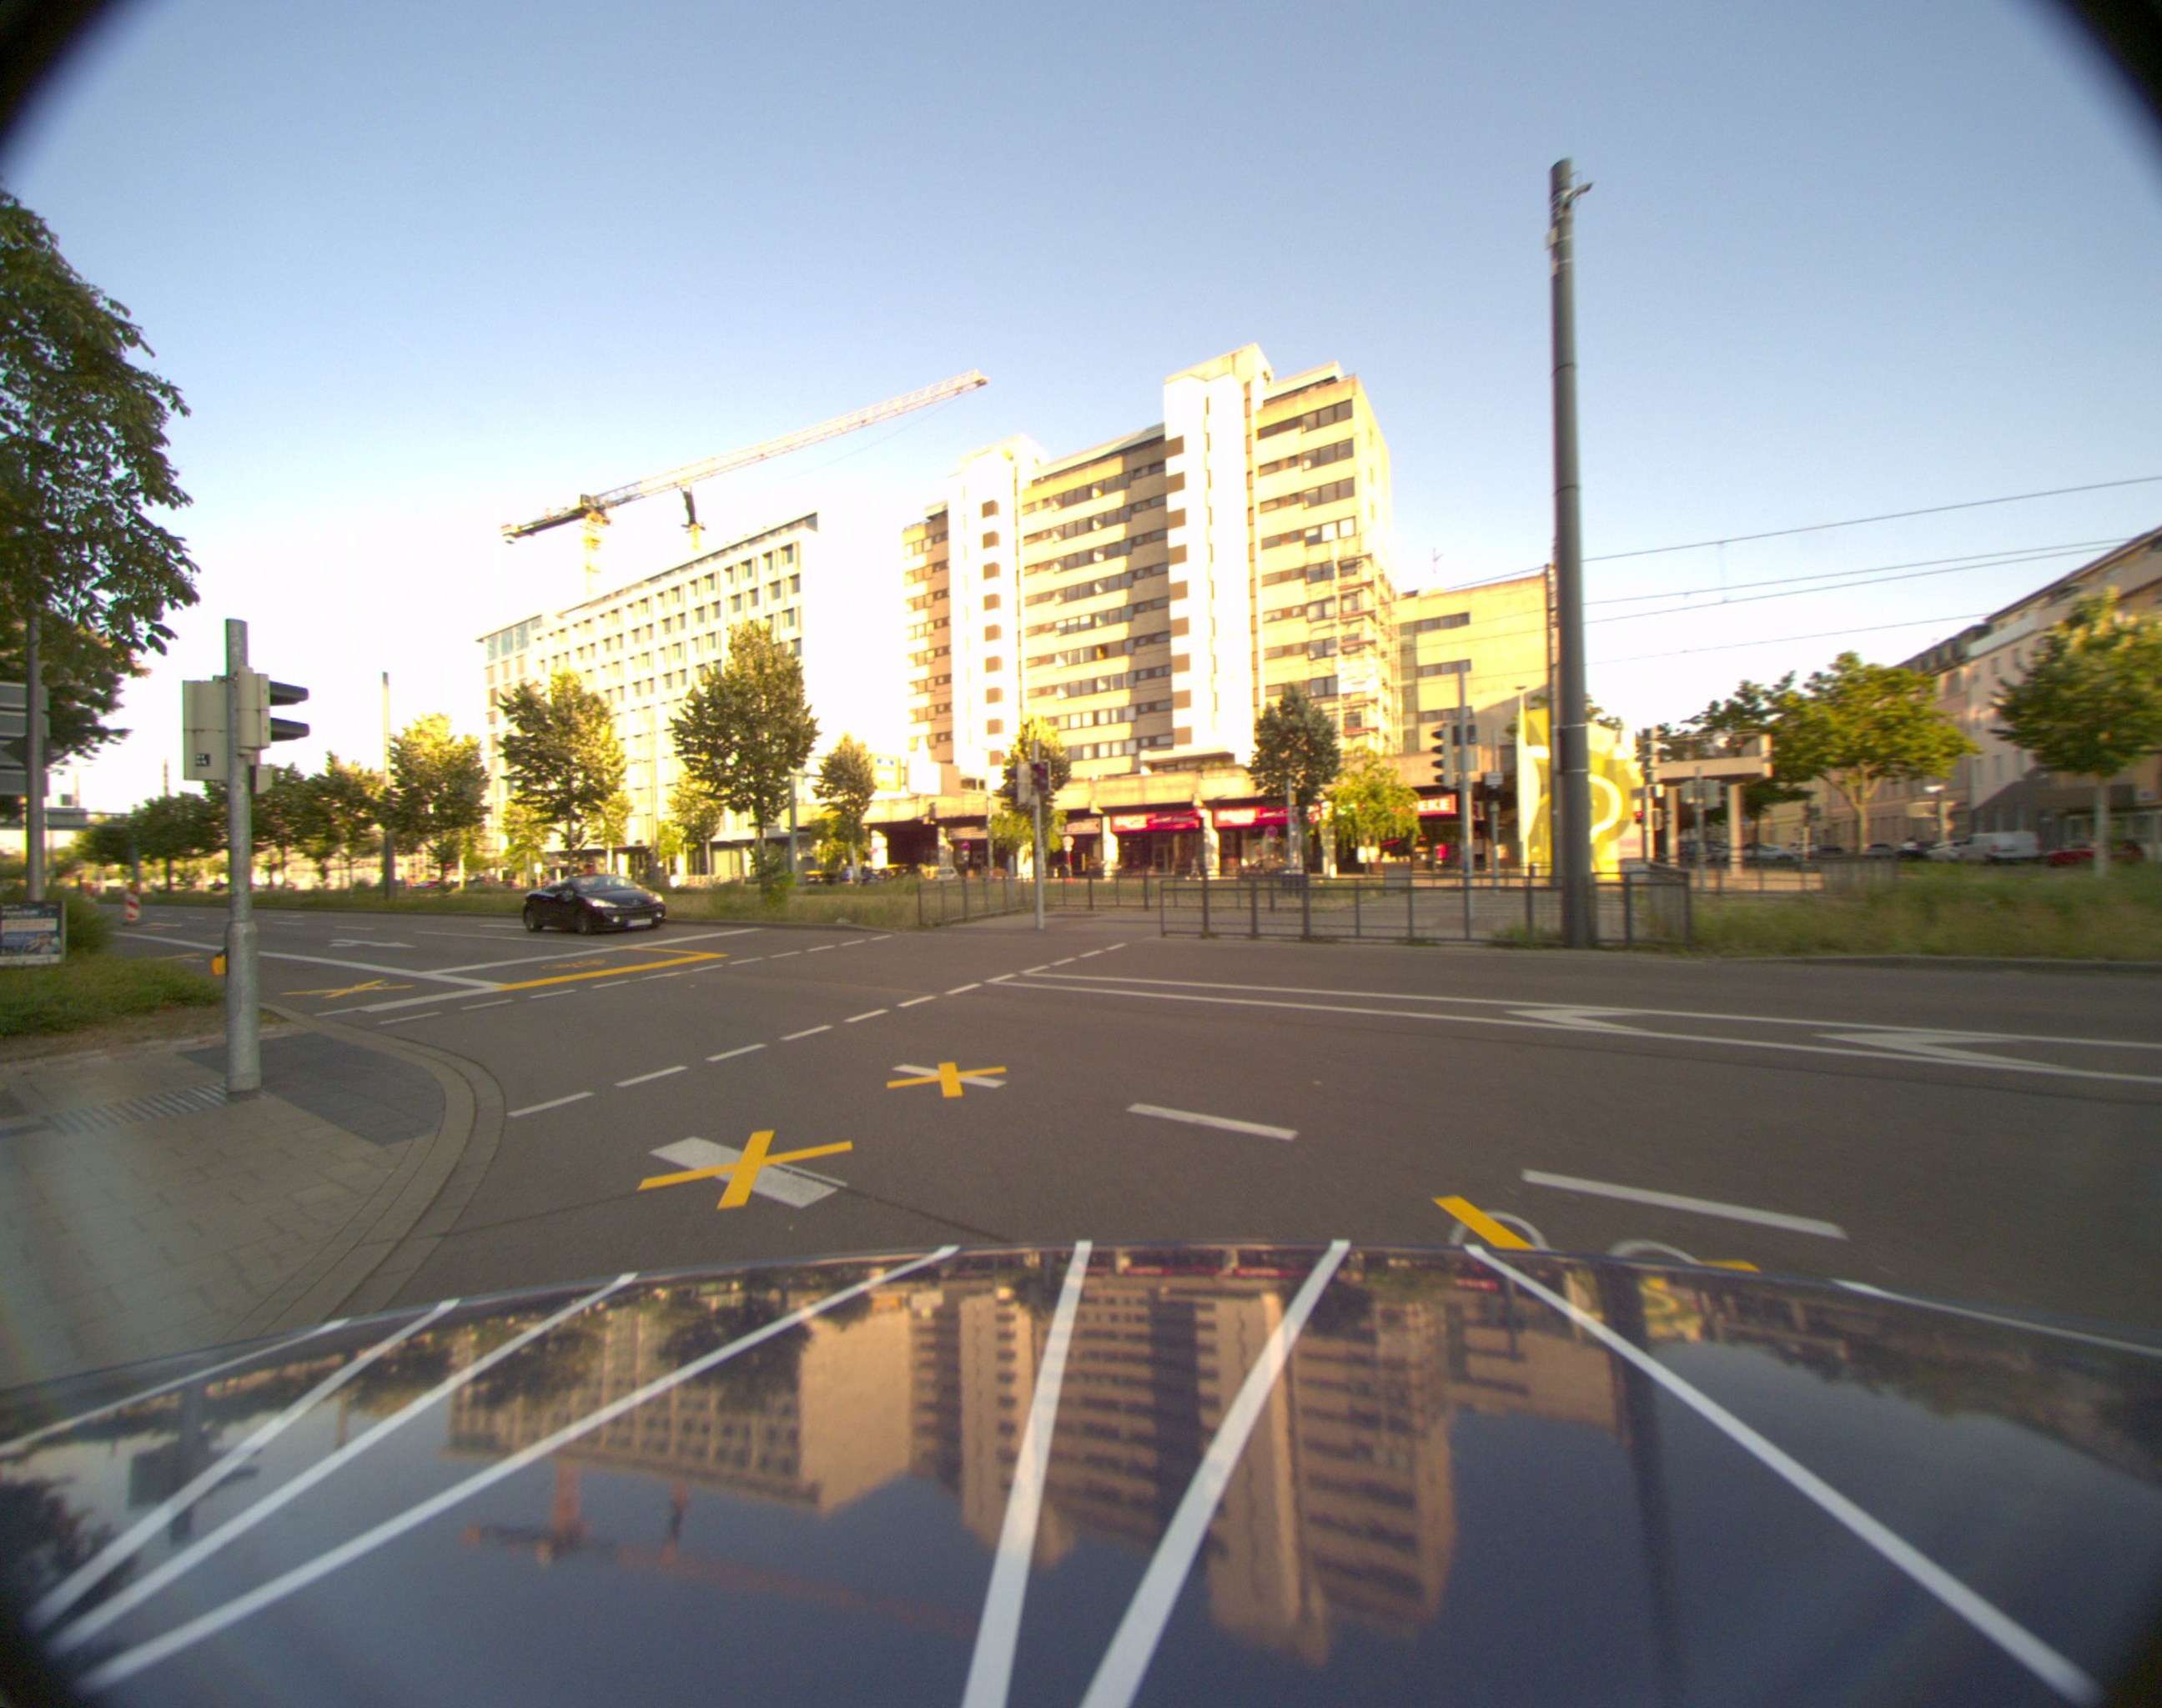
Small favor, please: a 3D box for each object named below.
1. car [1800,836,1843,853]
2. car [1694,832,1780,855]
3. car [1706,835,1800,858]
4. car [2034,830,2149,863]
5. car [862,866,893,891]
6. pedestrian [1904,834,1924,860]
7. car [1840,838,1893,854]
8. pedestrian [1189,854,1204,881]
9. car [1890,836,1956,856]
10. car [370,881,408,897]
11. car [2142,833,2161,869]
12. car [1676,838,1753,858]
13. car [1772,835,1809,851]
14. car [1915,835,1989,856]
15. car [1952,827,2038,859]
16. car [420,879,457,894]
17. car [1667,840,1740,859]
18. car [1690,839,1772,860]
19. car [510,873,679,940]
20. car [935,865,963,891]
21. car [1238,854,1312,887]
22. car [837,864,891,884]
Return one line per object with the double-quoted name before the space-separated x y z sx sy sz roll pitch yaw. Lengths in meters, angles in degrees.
"car" 69.441 -0.910 71.317 1.995 1.521 4.007 -2 0 31
"car" 49.337 -0.764 57.297 4.632 1.551 2.004 -2 0 32
"car" 46.578 -0.506 52.820 4.632 1.390 2.004 -2 0 32
"car" 49.467 -0.373 37.307 1.995 1.477 4.007 -2 0 31
"car" -14.246 1.667 53.268 1.723 1.552 4.327 -2 0 -11
"pedestrian" 66.010 -0.562 60.228 0.890 2.002 0.772 -1 1 30
"car" 63.983 -0.650 61.941 1.995 1.237 4.007 -2 0 31
"pedestrian" 7.091 0.821 46.560 0.724 1.604 0.657 -1 1 26
"car" 59.206 -0.567 53.482 1.995 1.237 4.007 -2 0 31
"car" -70.140 3.548 77.025 4.319 1.552 1.726 -2 0 33
"car" 45.086 -0.125 30.178 1.995 1.477 4.007 -2 0 31
"car" 52.402 -0.476 62.994 4.632 1.551 2.004 -2 0 32
"car" 73.174 -1.133 78.399 1.995 1.521 4.007 -2 0 31
"car" 56.965 -0.549 49.774 1.995 1.237 4.007 -2 0 31
"car" 53.663 -0.617 44.702 1.995 1.739 4.007 -2 0 31
"car" -68.170 3.431 80.599 4.319 1.552 1.726 -2 0 33
"car" 53.804 -0.379 65.767 4.632 1.551 2.004 -2 0 32
"car" 50.630 -0.343 59.317 4.632 1.551 2.004 -2 0 32
"car" -11.513 1.185 17.943 3.898 1.380 1.804 -2 0 32
"car" -8.729 1.562 50.178 1.723 1.552 4.327 -2 0 -11
"car" 9.748 0.793 38.489 1.962 1.552 4.341 -2 0 -11
"car" -18.756 1.710 65.871 1.718 1.552 4.339 -1 0 36
